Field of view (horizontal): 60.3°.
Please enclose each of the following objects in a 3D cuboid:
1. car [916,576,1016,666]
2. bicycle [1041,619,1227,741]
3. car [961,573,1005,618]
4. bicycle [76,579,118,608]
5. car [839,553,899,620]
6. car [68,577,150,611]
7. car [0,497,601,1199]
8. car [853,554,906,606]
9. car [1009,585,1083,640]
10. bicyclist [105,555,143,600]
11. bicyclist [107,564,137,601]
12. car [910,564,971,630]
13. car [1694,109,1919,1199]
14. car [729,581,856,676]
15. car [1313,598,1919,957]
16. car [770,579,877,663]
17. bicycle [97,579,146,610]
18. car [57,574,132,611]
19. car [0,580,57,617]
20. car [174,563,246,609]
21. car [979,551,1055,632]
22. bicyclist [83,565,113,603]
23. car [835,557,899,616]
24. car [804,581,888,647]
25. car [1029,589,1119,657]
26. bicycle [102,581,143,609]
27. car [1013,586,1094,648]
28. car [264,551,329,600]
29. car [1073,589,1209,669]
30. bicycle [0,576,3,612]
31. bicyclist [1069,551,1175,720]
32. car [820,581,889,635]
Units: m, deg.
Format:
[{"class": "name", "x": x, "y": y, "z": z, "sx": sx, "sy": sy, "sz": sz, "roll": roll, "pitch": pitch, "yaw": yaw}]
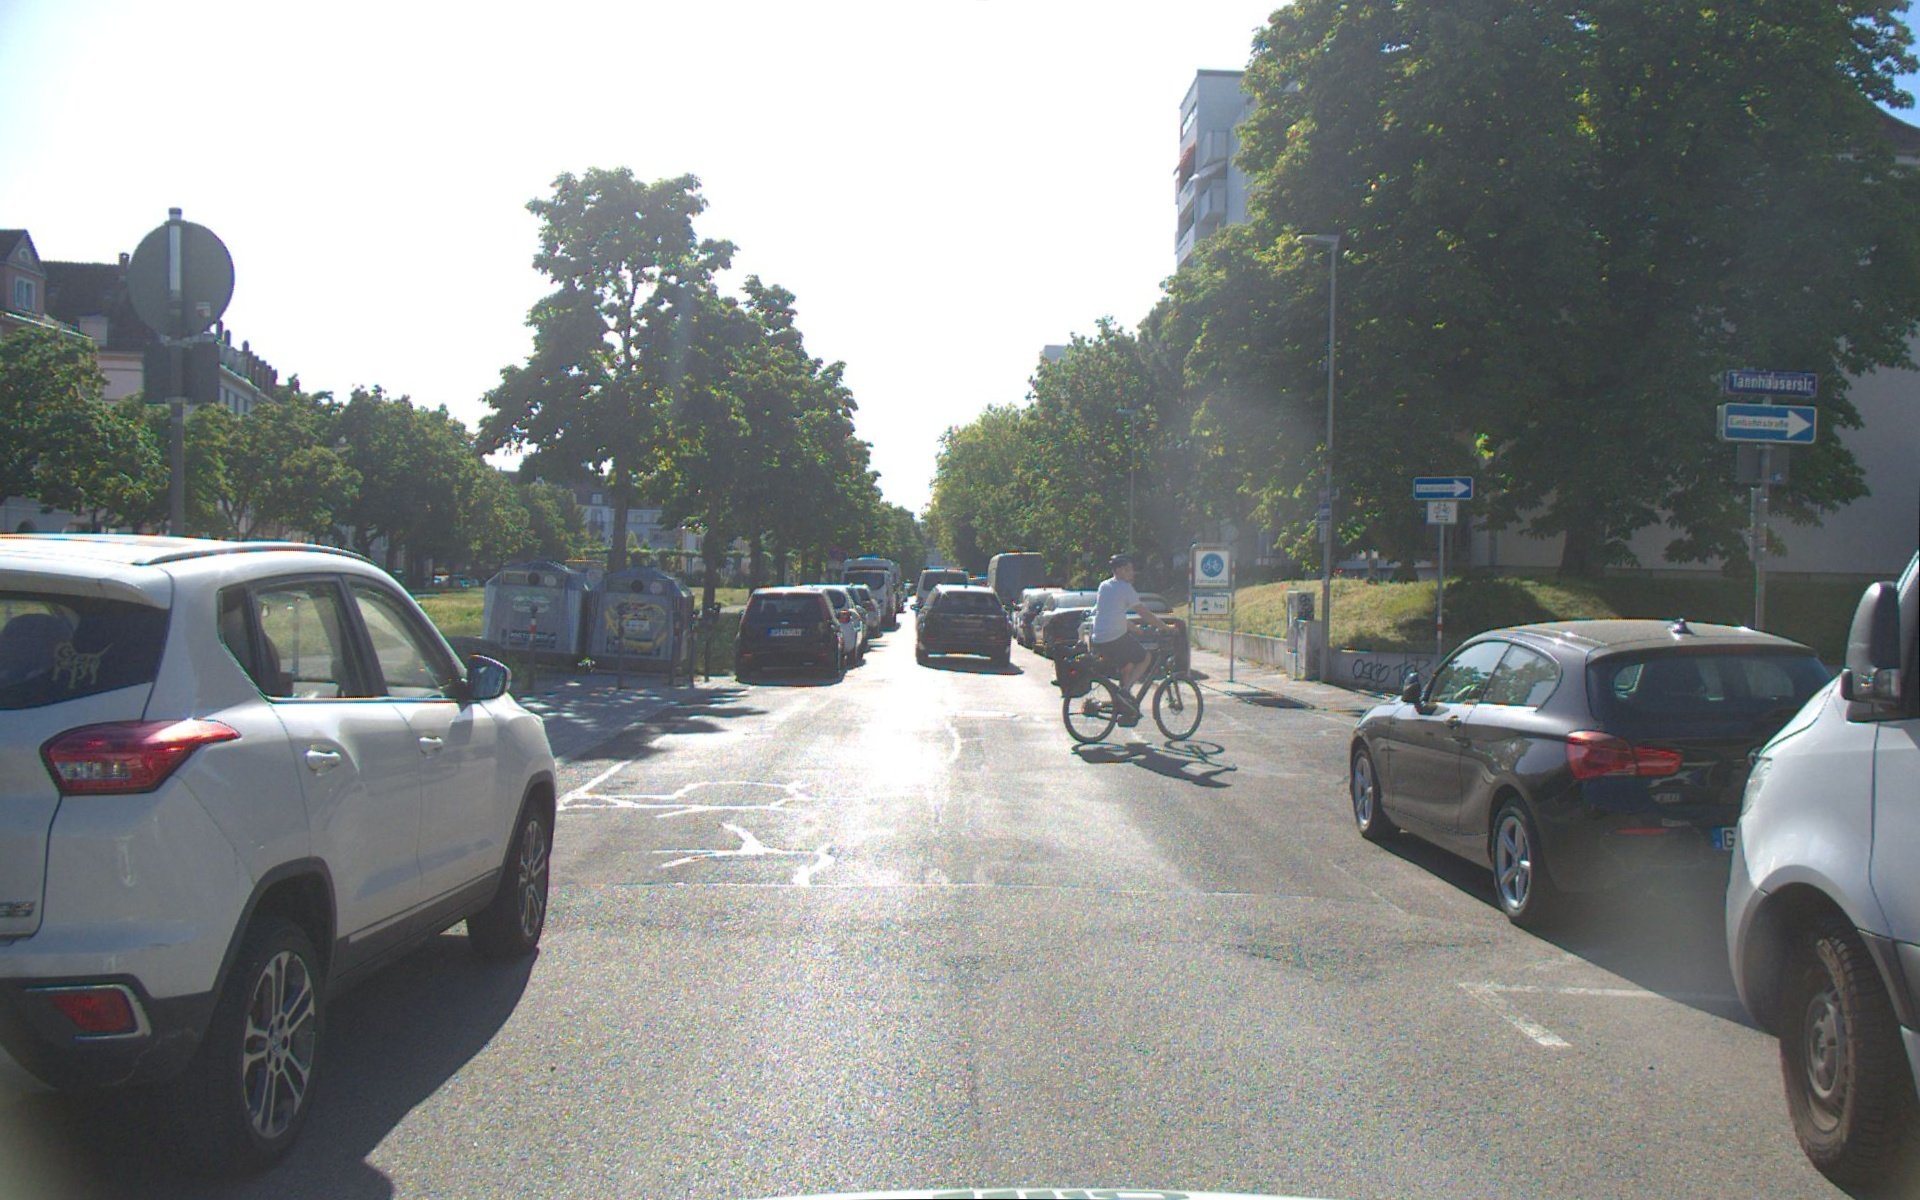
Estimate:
[{"class": "car", "x": 0.105, "y": 0.359, "z": 31.704, "sx": 1.743, "sy": 1.557, "sz": 4.000, "roll": 2, "pitch": 1, "yaw": 0}, {"class": "bicycle", "x": 1.734, "y": 0.784, "z": 16.424, "sx": 1.736, "sy": 1.147, "sz": 0.658, "roll": 1, "pitch": 0, "yaw": -24}, {"class": "car", "x": 1.175, "y": -0.256, "z": 88.654, "sx": 2.119, "sy": 2.332, "sz": 5.264, "roll": 1, "pitch": 1, "yaw": -2}, {"class": "bicycle", "x": -34.461, "y": -0.264, "z": 66.083, "sx": 0.717, "sy": 1.098, "sz": 1.955, "roll": 1, "pitch": 1, "yaw": -3}, {"class": "car", "x": -3.537, "y": -0.534, "z": 64.906, "sx": 2.055, "sy": 2.540, "sz": 4.127, "roll": 1, "pitch": 0, "yaw": 0}, {"class": "car", "x": -38.617, "y": -0.279, "z": 75.175, "sx": 1.809, "sy": 1.465, "sz": 3.774, "roll": 1, "pitch": 1, "yaw": -1}, {"class": "car", "x": -2.565, "y": 0.604, "z": 5.657, "sx": 1.720, "sy": 1.676, "sz": 4.287, "roll": -1, "pitch": 1, "yaw": 0}, {"class": "car", "x": -4.346, "y": -1.103, "z": 90.344, "sx": 2.563, "sy": 2.691, "sz": 6.114, "roll": 1, "pitch": 1, "yaw": 0}, {"class": "car", "x": 2.500, "y": 0.344, "z": 49.036, "sx": 1.948, "sy": 1.513, "sz": 4.126, "roll": 1, "pitch": 1, "yaw": 0}, {"class": "bicyclist", "x": -35.346, "y": -0.940, "z": 69.940, "sx": 0.922, "sy": 1.869, "sz": 1.449, "roll": 0, "pitch": 0, "yaw": -2}, {"class": "bicyclist", "x": -33.533, "y": -0.695, "z": 66.168, "sx": 0.723, "sy": 1.463, "sz": 0.942, "roll": 0, "pitch": 0, "yaw": -2}, {"class": "car", "x": -0.595, "y": -0.124, "z": 53.268, "sx": 1.855, "sy": 2.026, "sz": 4.010, "roll": -1, "pitch": 1, "yaw": 0}, {"class": "car", "x": 3.383, "y": 0.202, "z": 1.847, "sx": 2.098, "sy": 2.760, "sz": 6.841, "roll": -1, "pitch": 1, "yaw": 0}, {"class": "car", "x": -2.740, "y": 0.450, "z": 27.800, "sx": 1.712, "sy": 1.449, "sz": 3.916, "roll": -1, "pitch": 0, "yaw": 0}, {"class": "car", "x": 3.537, "y": 0.770, "z": 9.509, "sx": 1.919, "sy": 1.507, "sz": 4.497, "roll": -1, "pitch": 1, "yaw": -2}, {"class": "car", "x": -2.603, "y": 0.384, "z": 32.323, "sx": 1.741, "sy": 1.521, "sz": 3.874, "roll": -1, "pitch": 0, "yaw": 0}, {"class": "bicycle", "x": -35.392, "y": -0.249, "z": 69.834, "sx": 0.794, "sy": 1.274, "sz": 2.633, "roll": 1, "pitch": 0, "yaw": -3}, {"class": "car", "x": -44.314, "y": -0.401, "z": 84.729, "sx": 1.822, "sy": 1.779, "sz": 3.998, "roll": 1, "pitch": 1, "yaw": -2}, {"class": "car", "x": -38.259, "y": -0.083, "z": 67.130, "sx": 1.352, "sy": 1.465, "sz": 3.341, "roll": 1, "pitch": 1, "yaw": 0}, {"class": "car", "x": -38.678, "y": -0.732, "z": 85.454, "sx": 1.660, "sy": 2.252, "sz": 5.005, "roll": 1, "pitch": 0, "yaw": -4}, {"class": "car", "x": 1.967, "y": -0.315, "z": 59.134, "sx": 2.120, "sy": 2.736, "sz": 5.412, "roll": 1, "pitch": 1, "yaw": -4}, {"class": "bicyclist", "x": -34.483, "y": -0.645, "z": 66.174, "sx": 0.723, "sy": 1.462, "sz": 0.942, "roll": 1, "pitch": 0, "yaw": -2}, {"class": "car", "x": -3.255, "y": -0.495, "z": 58.501, "sx": 2.056, "sy": 1.976, "sz": 4.126, "roll": 1, "pitch": 1, "yaw": -1}, {"class": "car", "x": -2.719, "y": 0.311, "z": 40.250, "sx": 1.743, "sy": 1.487, "sz": 4.126, "roll": 1, "pitch": 1, "yaw": 0}, {"class": "car", "x": 2.543, "y": 0.484, "z": 37.604, "sx": 1.743, "sy": 1.395, "sz": 4.126, "roll": 1, "pitch": 1, "yaw": 0}, {"class": "bicycle", "x": -33.534, "y": -0.200, "z": 66.216, "sx": 0.717, "sy": 1.098, "sz": 1.955, "roll": 1, "pitch": 1, "yaw": -3}, {"class": "car", "x": 2.434, "y": 0.416, "z": 43.976, "sx": 1.744, "sy": 1.513, "sz": 4.030, "roll": 1, "pitch": 1, "yaw": -2}, {"class": "car", "x": -39.216, "y": -1.435, "z": 97.892, "sx": 1.877, "sy": 2.792, "sz": 5.621, "roll": 1, "pitch": 1, "yaw": -4}, {"class": "car", "x": 3.380, "y": 0.503, "z": 31.666, "sx": 2.082, "sy": 1.361, "sz": 4.506, "roll": -2, "pitch": 1, "yaw": 0}, {"class": "bicycle", "x": -34.699, "y": -0.234, "z": 57.911, "sx": 0.793, "sy": 1.274, "sz": 2.634, "roll": 2, "pitch": -1, "yaw": 1}, {"class": "bicyclist", "x": 1.596, "y": 0.337, "z": 16.355, "sx": 0.778, "sy": 1.624, "sz": 0.691, "roll": 1, "pitch": 0, "yaw": -24}, {"class": "car", "x": -3.153, "y": 0.200, "z": 50.039, "sx": 1.795, "sy": 1.526, "sz": 4.127, "roll": 1, "pitch": 1, "yaw": 0}]
